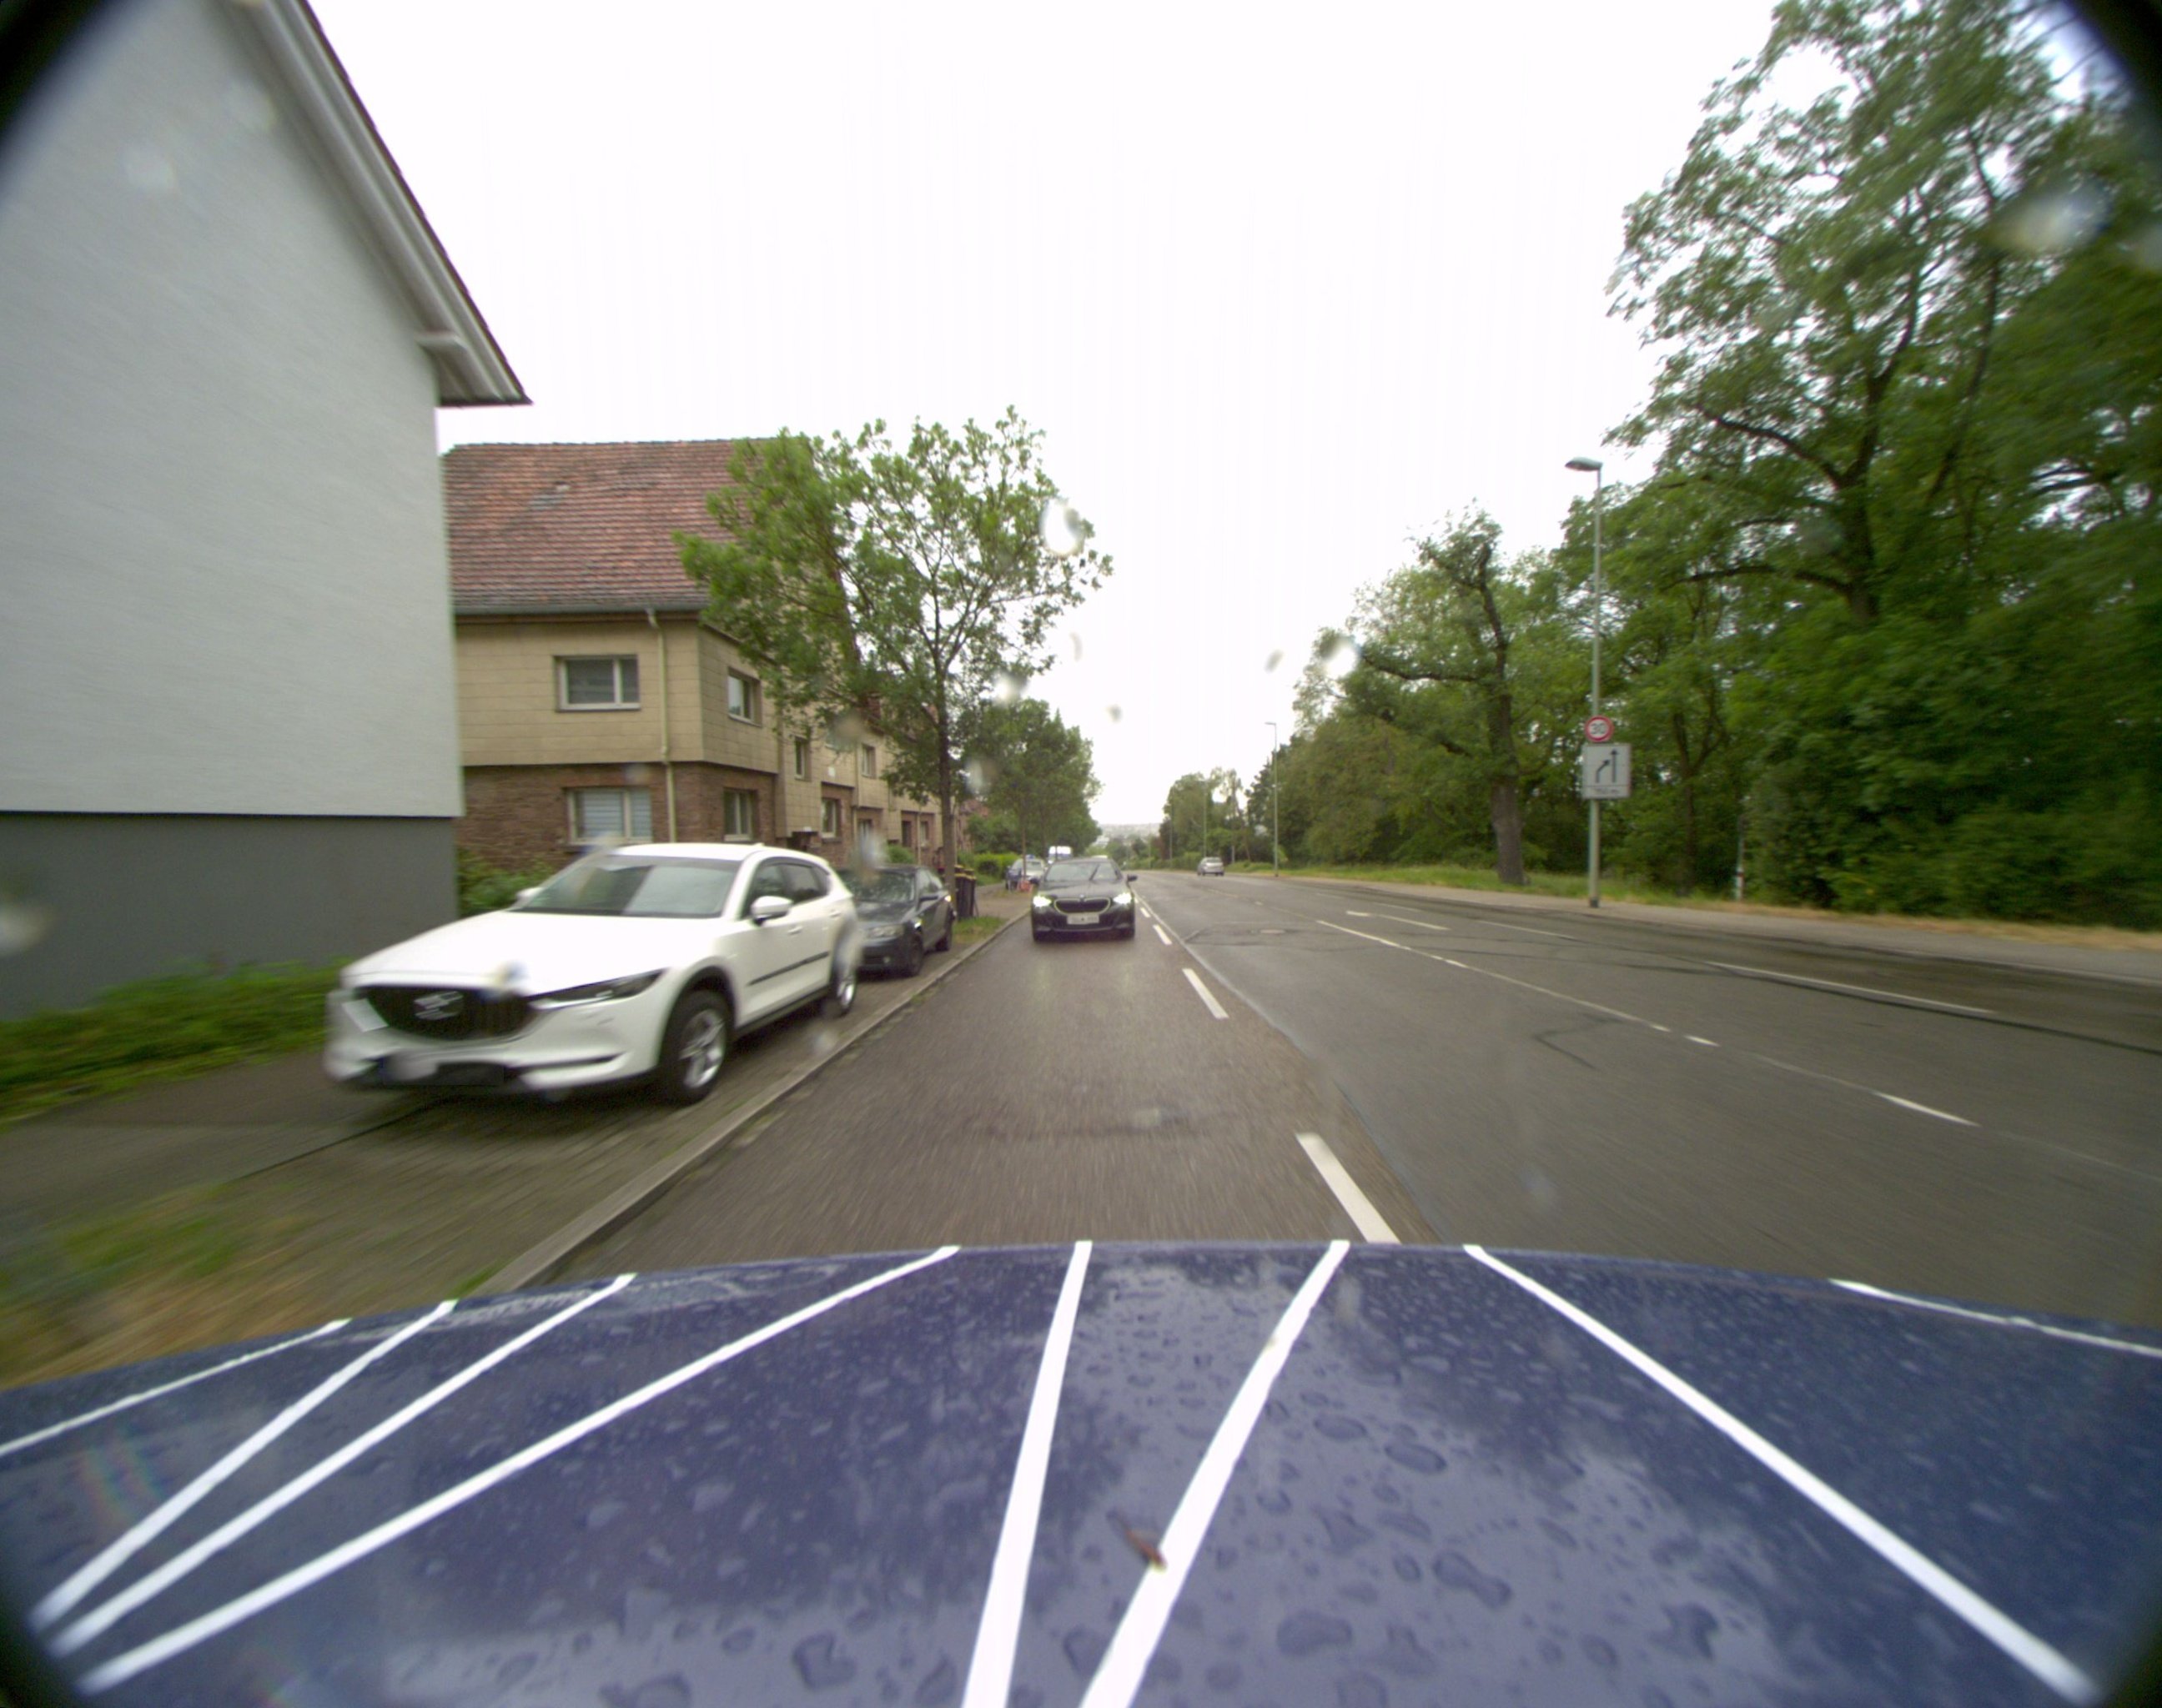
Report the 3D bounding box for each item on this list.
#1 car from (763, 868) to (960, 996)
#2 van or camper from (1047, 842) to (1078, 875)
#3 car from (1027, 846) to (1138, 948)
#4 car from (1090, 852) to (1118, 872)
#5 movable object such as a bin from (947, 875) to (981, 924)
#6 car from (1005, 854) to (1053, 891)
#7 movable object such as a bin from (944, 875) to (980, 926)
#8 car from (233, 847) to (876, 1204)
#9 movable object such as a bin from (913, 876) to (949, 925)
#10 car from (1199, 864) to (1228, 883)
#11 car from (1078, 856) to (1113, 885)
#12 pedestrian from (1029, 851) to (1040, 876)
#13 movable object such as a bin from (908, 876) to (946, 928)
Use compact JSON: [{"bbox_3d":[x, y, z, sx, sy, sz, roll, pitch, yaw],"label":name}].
[{"bbox_3d":[-2.920,0.964,11.000,1.645,1.440,3.998,-1,0,0],"label":"car"},{"bbox_3d":[-1.500,0.473,65.064,2.203,2.635,7.304,1,-1,2],"label":"van or camper"},{"bbox_3d":[0.059,0.795,15.253,1.828,1.667,4.297,-3,-1,1],"label":"car"},{"bbox_3d":[1.932,0.710,64.859,1.999,1.673,4.173,-1,-1,-4],"label":"car"},{"bbox_3d":[-2.612,0.995,16.982,0.621,1.044,0.822,2,0,-1],"label":"movable object such as a bin"},{"bbox_3d":[-2.406,0.885,36.524,1.705,1.574,4.644,3,-1,3],"label":"car"},{"bbox_3d":[-2.513,0.970,16.080,0.621,1.044,0.822,2,0,-1],"label":"movable object such as a bin"},{"bbox_3d":[-3.251,0.874,6.057,1.828,1.761,4.542,0,-1,3],"label":"car"},{"bbox_3d":[-3.344,1.024,17.021,0.621,1.044,0.822,2,0,-1],"label":"movable object such as a bin"},{"bbox_3d":[10.802,1.564,62.195,1.693,1.474,4.453,1,0,2],"label":"car"},{"bbox_3d":[0.862,0.999,46.511,1.998,1.673,4.175,-1,-1,0],"label":"car"},{"bbox_3d":[-3.192,0.665,52.349,0.652,1.669,0.710,0,-1,9],"label":"pedestrian"},{"bbox_3d":[-3.253,0.999,16.095,0.621,1.044,0.822,2,0,-1],"label":"movable object such as a bin"}]
